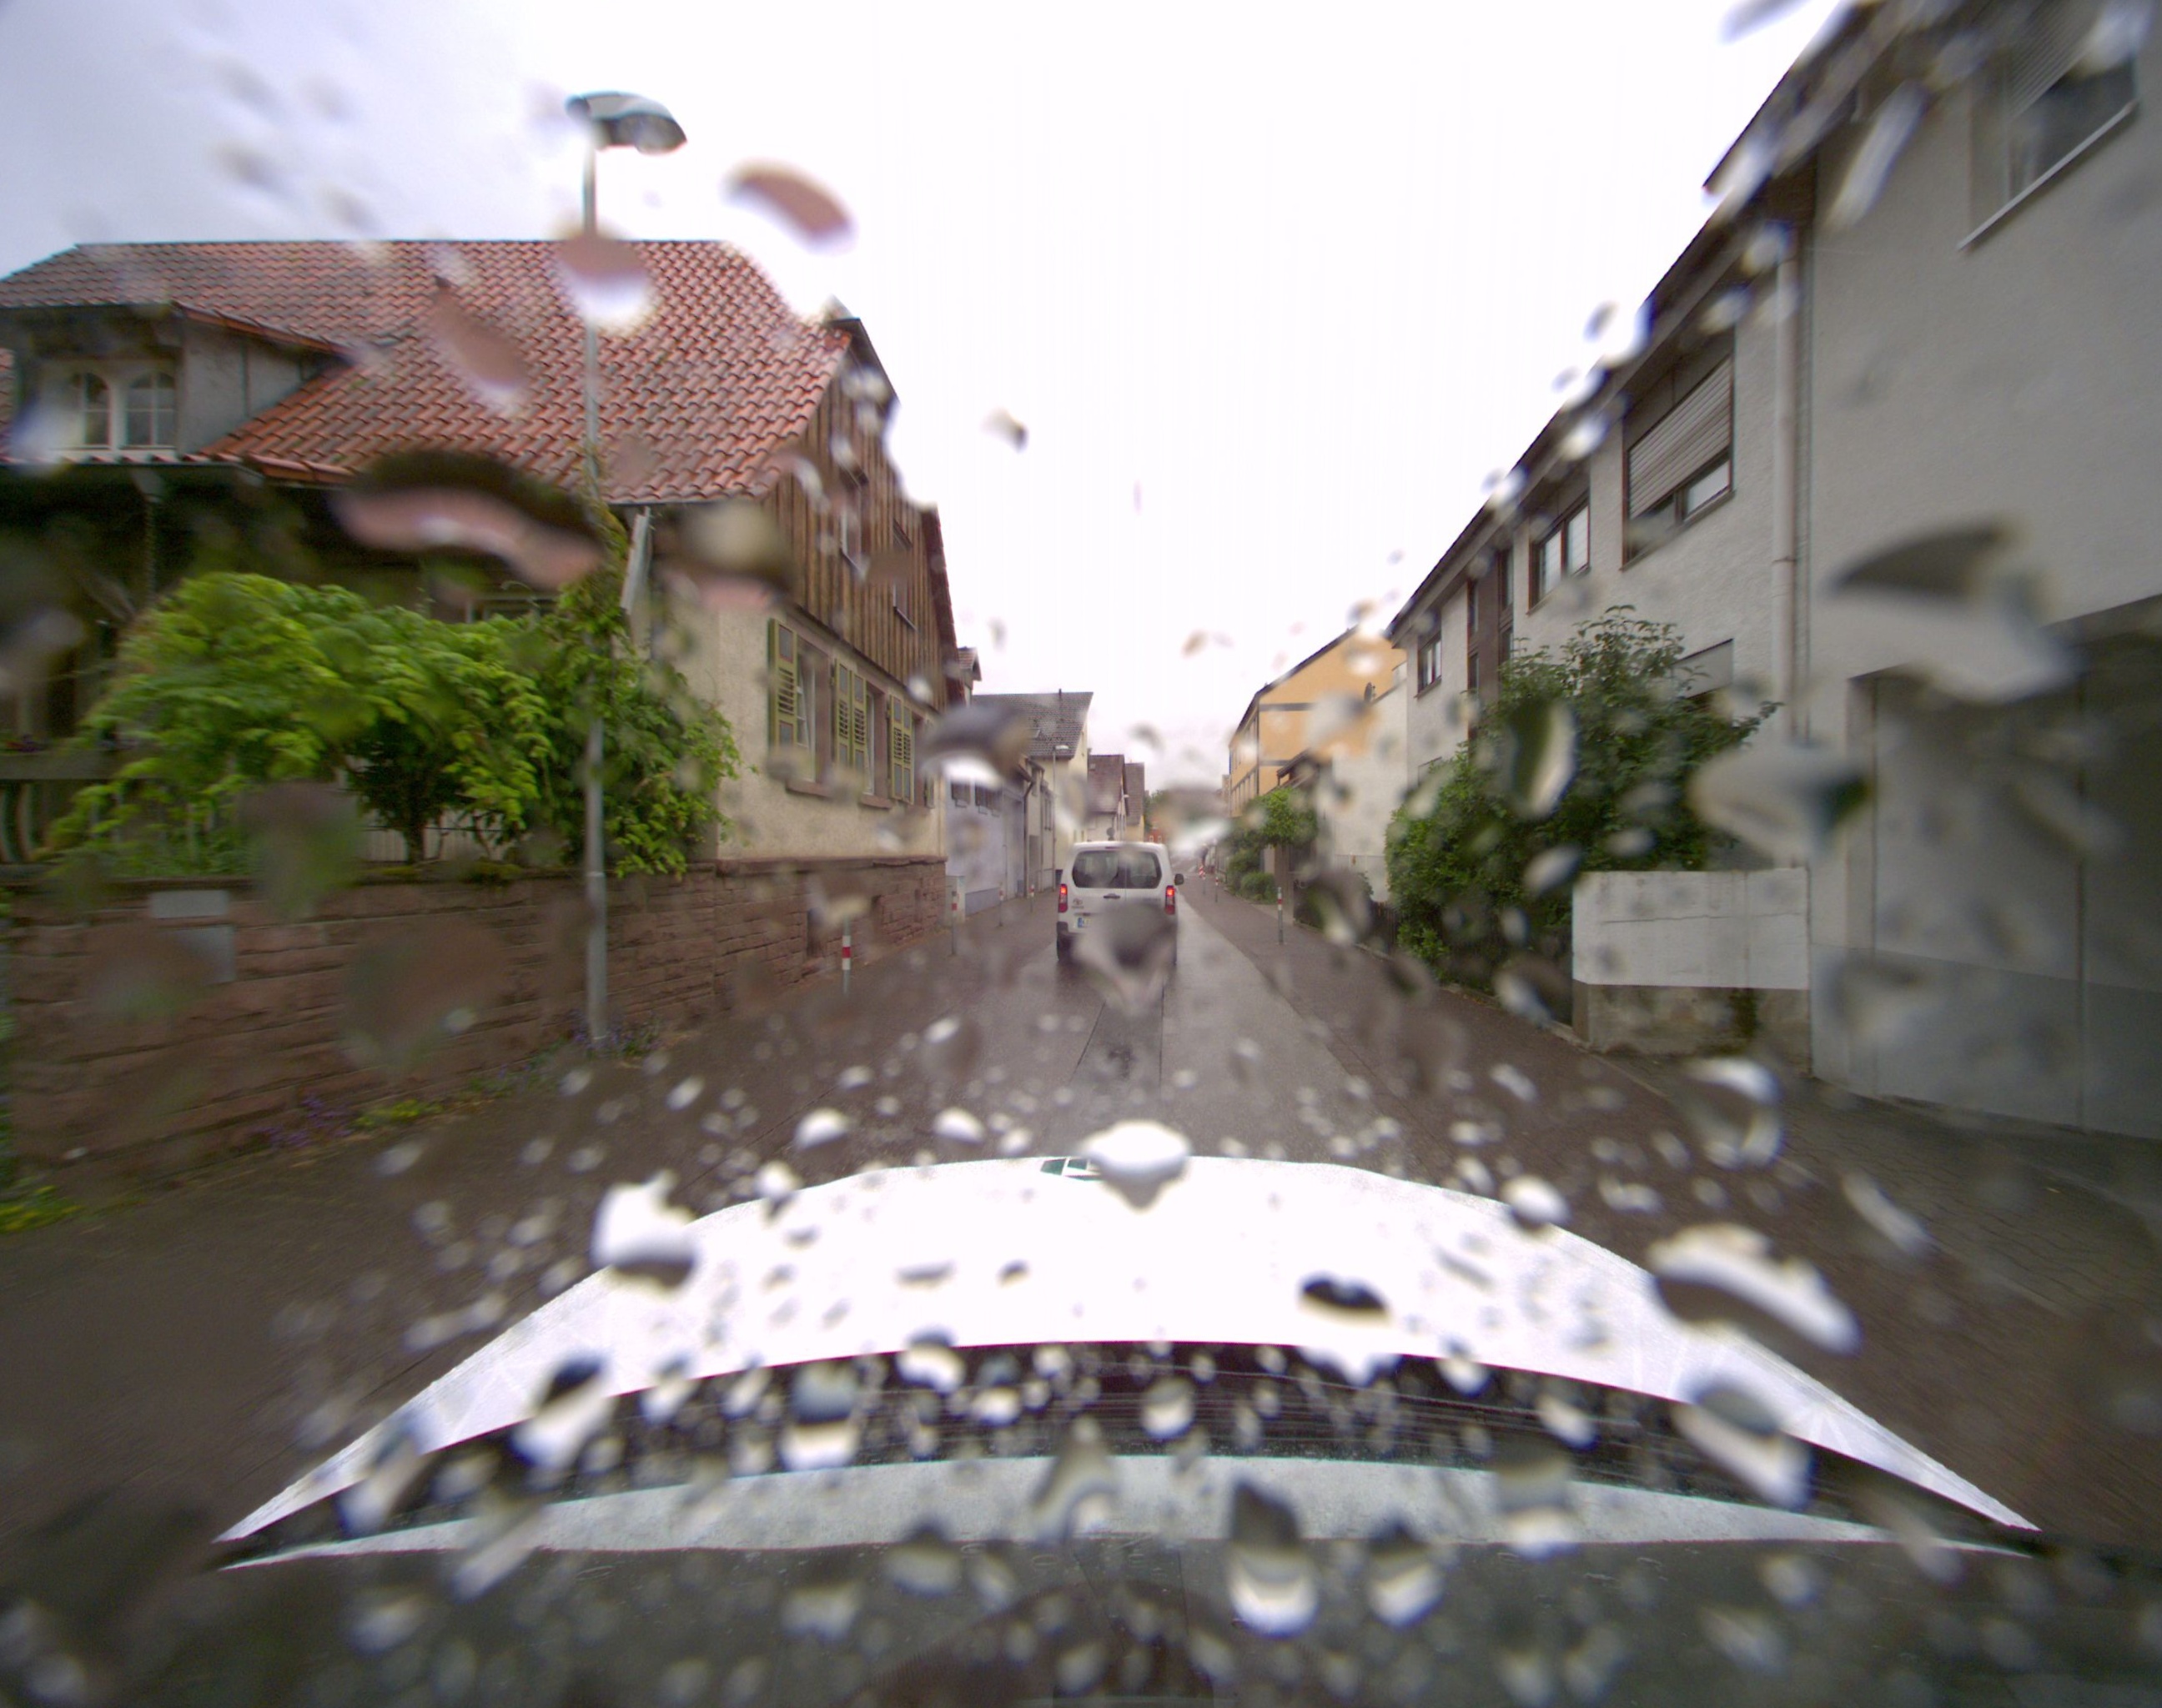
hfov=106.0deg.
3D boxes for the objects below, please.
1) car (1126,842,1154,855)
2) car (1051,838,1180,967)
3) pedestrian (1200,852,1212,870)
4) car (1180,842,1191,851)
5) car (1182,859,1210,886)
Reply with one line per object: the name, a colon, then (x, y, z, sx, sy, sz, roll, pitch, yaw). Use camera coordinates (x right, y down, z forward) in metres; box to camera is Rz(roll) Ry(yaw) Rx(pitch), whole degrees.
car: (8.648, -0.811, 119.614, 3.430, 1.559, 1.988, -4, 1, -18)
car: (0.690, 0.703, 13.393, 1.766, 1.780, 4.007, -1, -1, 6)
pedestrian: (12.882, 0.708, 83.929, 1.045, 1.893, 0.878, -1, -1, 5)
car: (18.314, -1.314, 142.819, 1.578, 1.441, 3.778, 1, 0, 12)
car: (8.902, 1.398, 62.907, 1.982, 2.014, 4.009, -1, -1, 8)
